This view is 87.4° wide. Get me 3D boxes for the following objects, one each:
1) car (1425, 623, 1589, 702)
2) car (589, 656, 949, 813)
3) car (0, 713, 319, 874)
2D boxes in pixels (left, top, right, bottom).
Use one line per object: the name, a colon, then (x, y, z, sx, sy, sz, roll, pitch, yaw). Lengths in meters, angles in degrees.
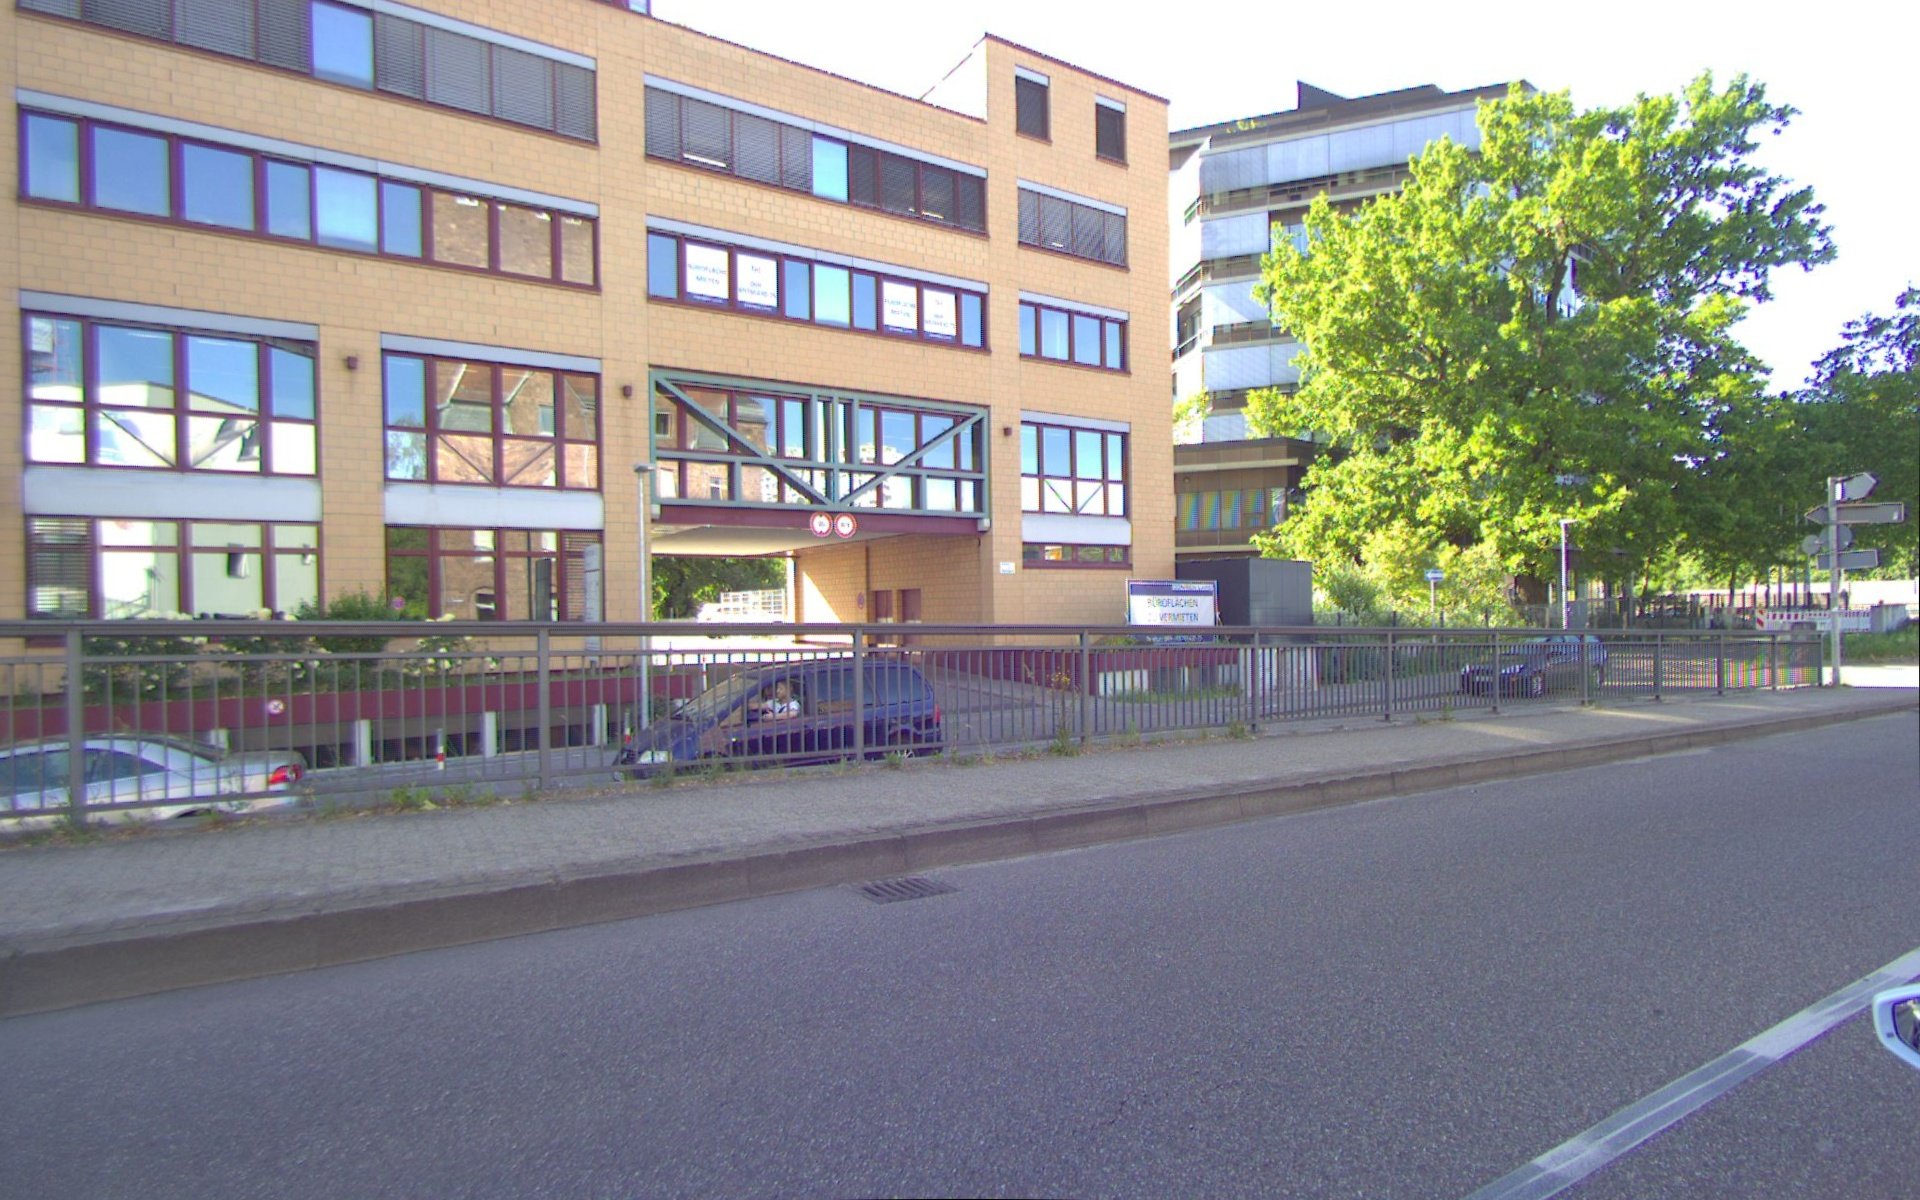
car: (13.645, 1.486, 25.013, 3.954, 1.715, 1.842, -1, 0, -31)
car: (-2.494, 1.675, 13.711, 4.542, 1.669, 1.710, 0, -2, -36)
car: (-8.739, 1.863, 9.756, 4.211, 1.181, 1.712, 0, -2, -33)
